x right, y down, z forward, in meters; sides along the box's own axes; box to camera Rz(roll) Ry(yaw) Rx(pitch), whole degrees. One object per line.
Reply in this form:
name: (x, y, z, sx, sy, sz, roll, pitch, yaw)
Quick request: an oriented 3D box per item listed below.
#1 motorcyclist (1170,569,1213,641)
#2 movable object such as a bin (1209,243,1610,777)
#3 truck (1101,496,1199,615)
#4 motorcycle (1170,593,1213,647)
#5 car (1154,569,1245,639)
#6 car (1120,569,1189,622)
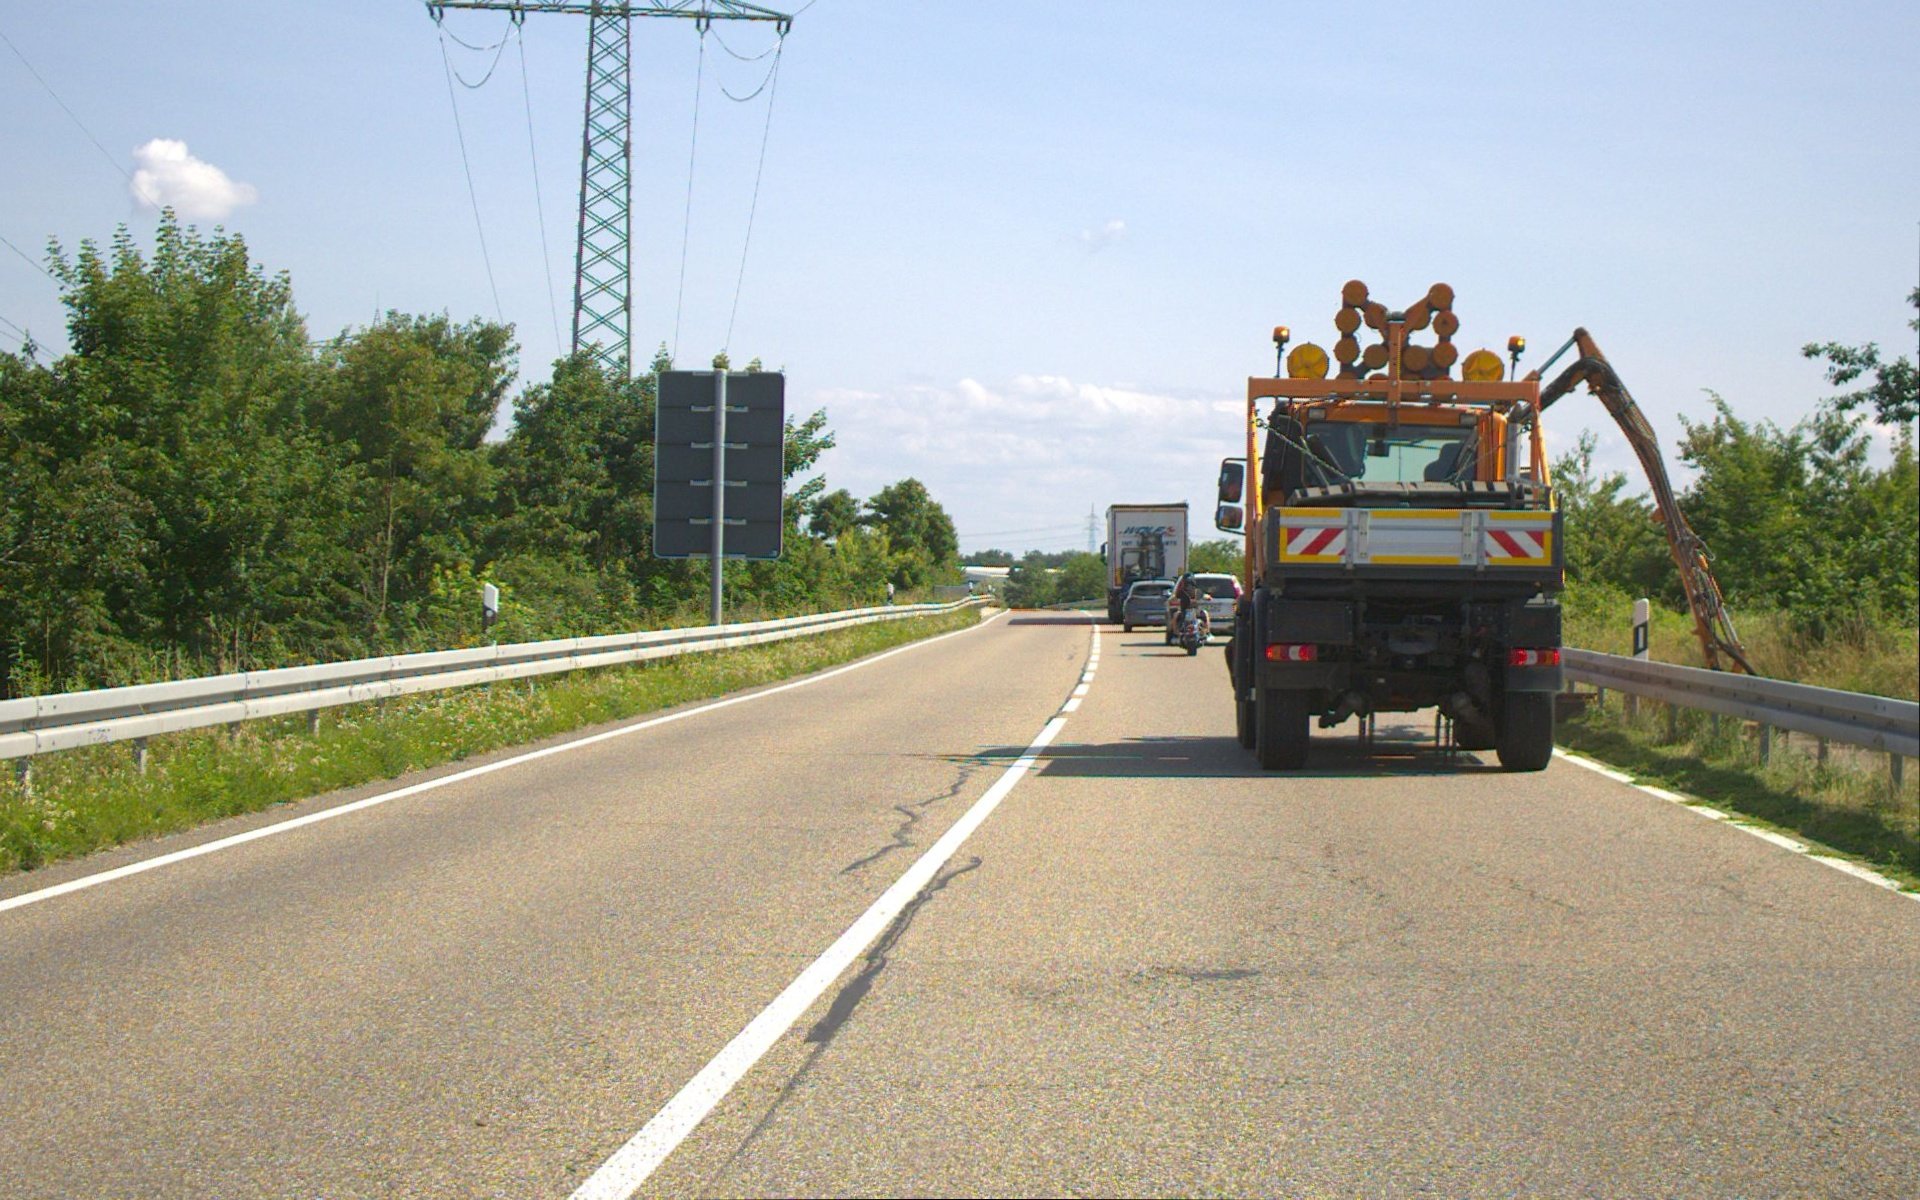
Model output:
motorcyclist: (4.351, 0.090, 64.642, 0.780, 1.321, 0.813, 0, 1, 3)
movable object such as a bin: (3.571, -0.723, 29.462, 2.753, 3.826, 9.444, 0, 1, 4)
truck: (6.632, -1.519, 119.599, 3.242, 3.965, 9.442, 0, 0, 3)
motorcycle: (4.338, 0.368, 64.625, 0.780, 0.972, 2.361, 0, 1, 3)
car: (5.260, 0.059, 75.084, 1.826, 1.446, 3.999, 0, 1, 6)
car: (5.428, -0.136, 95.941, 1.866, 1.415, 4.000, 1, 1, 3)
